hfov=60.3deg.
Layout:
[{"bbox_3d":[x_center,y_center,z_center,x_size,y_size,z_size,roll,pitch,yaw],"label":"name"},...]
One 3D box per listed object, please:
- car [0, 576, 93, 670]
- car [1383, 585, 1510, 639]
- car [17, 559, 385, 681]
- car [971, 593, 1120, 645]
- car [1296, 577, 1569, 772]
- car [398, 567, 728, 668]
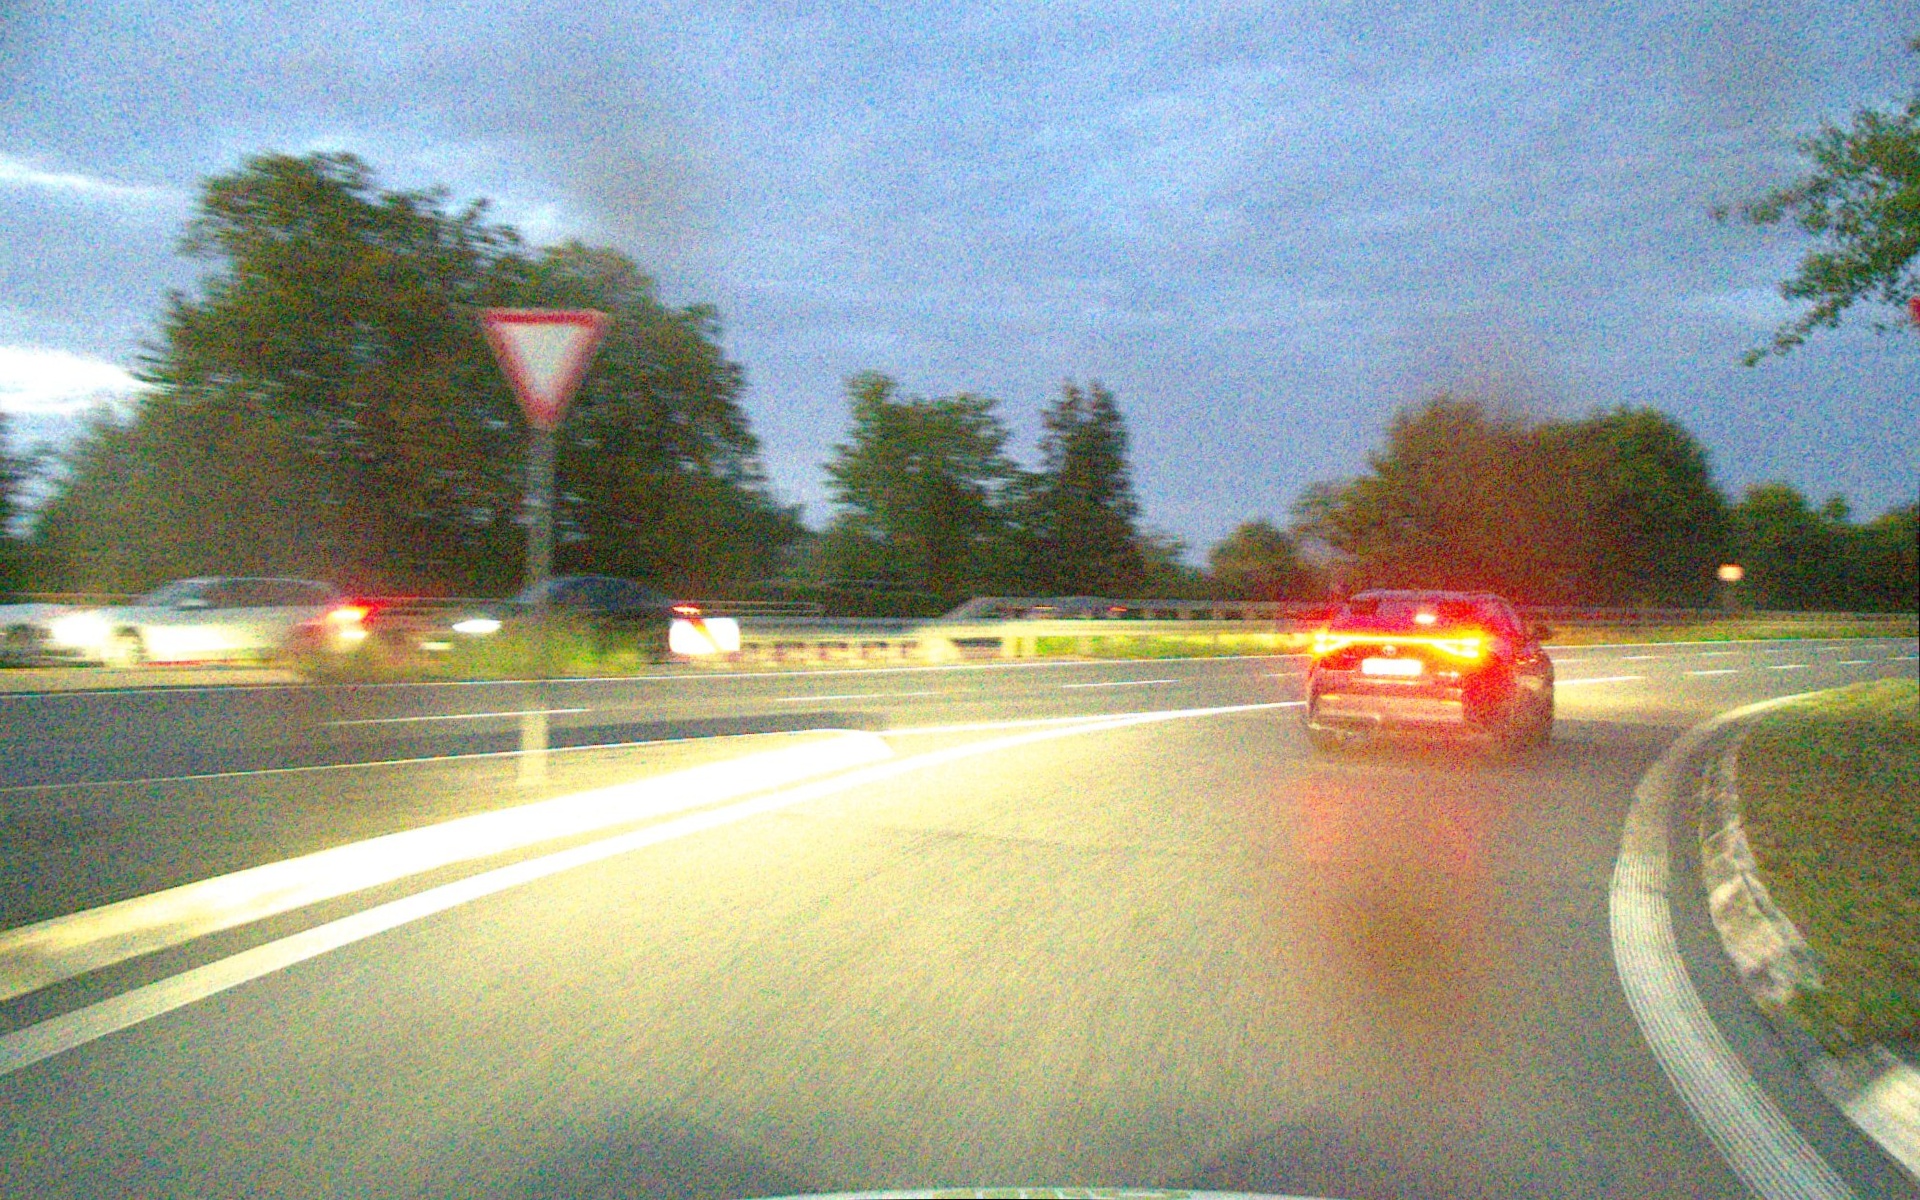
[{"bbox_3d":[-16.447,0.364,25.919,1.963,1.478,4.710,0,0,40],"label":"car"},{"bbox_3d":[15.243,0.381,51.691,1.964,1.597,4.793,-1,-1,42],"label":"car"},{"bbox_3d":[-11.666,0.334,25.727,1.962,1.711,4.849,0,-1,39],"label":"car"},{"bbox_3d":[2.577,0.551,49.014,1.964,1.478,4.708,0,0,41],"label":"car"},{"bbox_3d":[4.981,0.639,16.972,1.864,1.648,4.552,3,1,26],"label":"car"},{"bbox_3d":[-6.303,0.268,26.787,1.964,1.478,5.018,0,-1,41],"label":"car"}]
